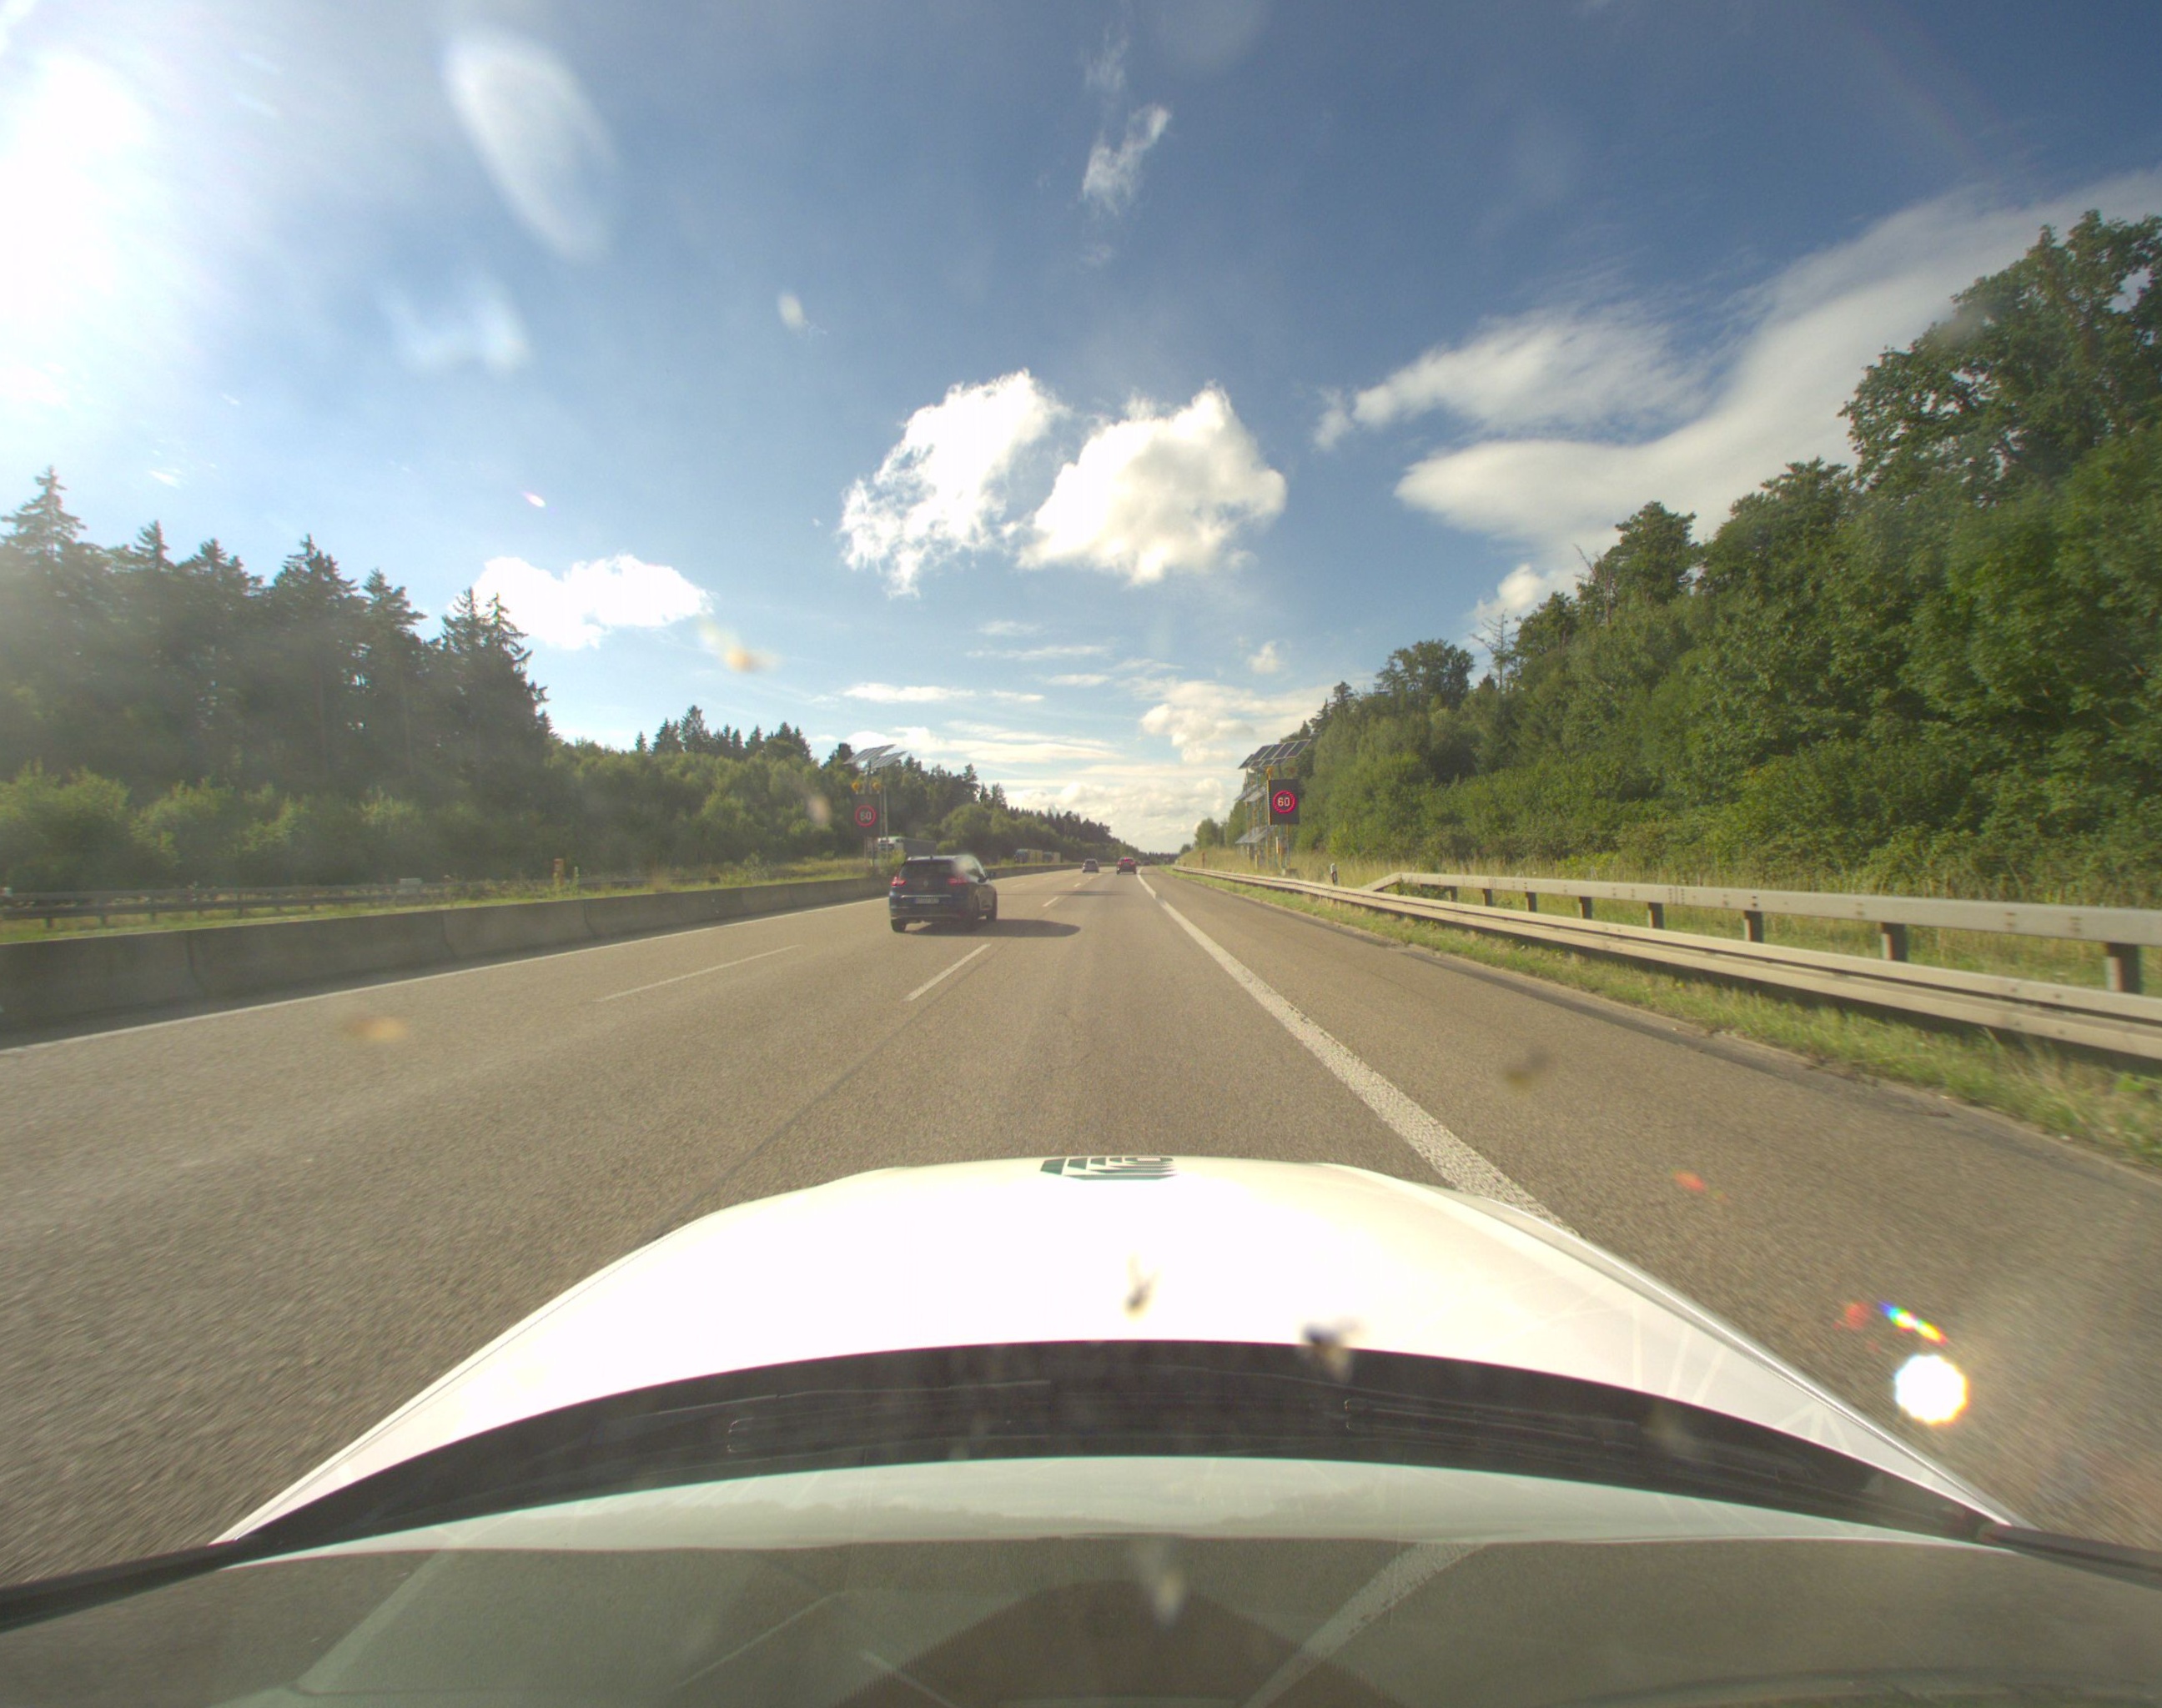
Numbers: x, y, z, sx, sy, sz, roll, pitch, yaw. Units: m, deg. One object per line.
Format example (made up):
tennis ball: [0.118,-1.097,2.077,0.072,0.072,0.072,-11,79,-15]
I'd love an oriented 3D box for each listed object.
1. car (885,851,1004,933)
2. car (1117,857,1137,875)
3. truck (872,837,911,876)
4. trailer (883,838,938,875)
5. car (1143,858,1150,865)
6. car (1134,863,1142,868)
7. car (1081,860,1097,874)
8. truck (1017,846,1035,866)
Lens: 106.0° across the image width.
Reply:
car: [-3.100,0.818,19.441,1.986,1.707,4.529,0,0,1]
car: [4.610,1.206,80.831,1.865,1.675,3.894,-1,0,4]
truck: [-18.941,0.274,81.644,2.269,3.729,5.537,-1,-1,4]
trailer: [-18.444,0.336,89.140,2.269,3.729,13.287,-1,0,4]
car: [17.458,2.071,218.045,1.805,1.706,4.002,-1,0,2]
car: [16.412,3.345,233.726,1.863,1.497,3.888,-1,0,7]
car: [0.920,1.532,94.024,1.867,1.497,3.880,-1,0,1]
truck: [-11.358,0.417,167.760,2.636,4.086,6.425,-1,0,5]
